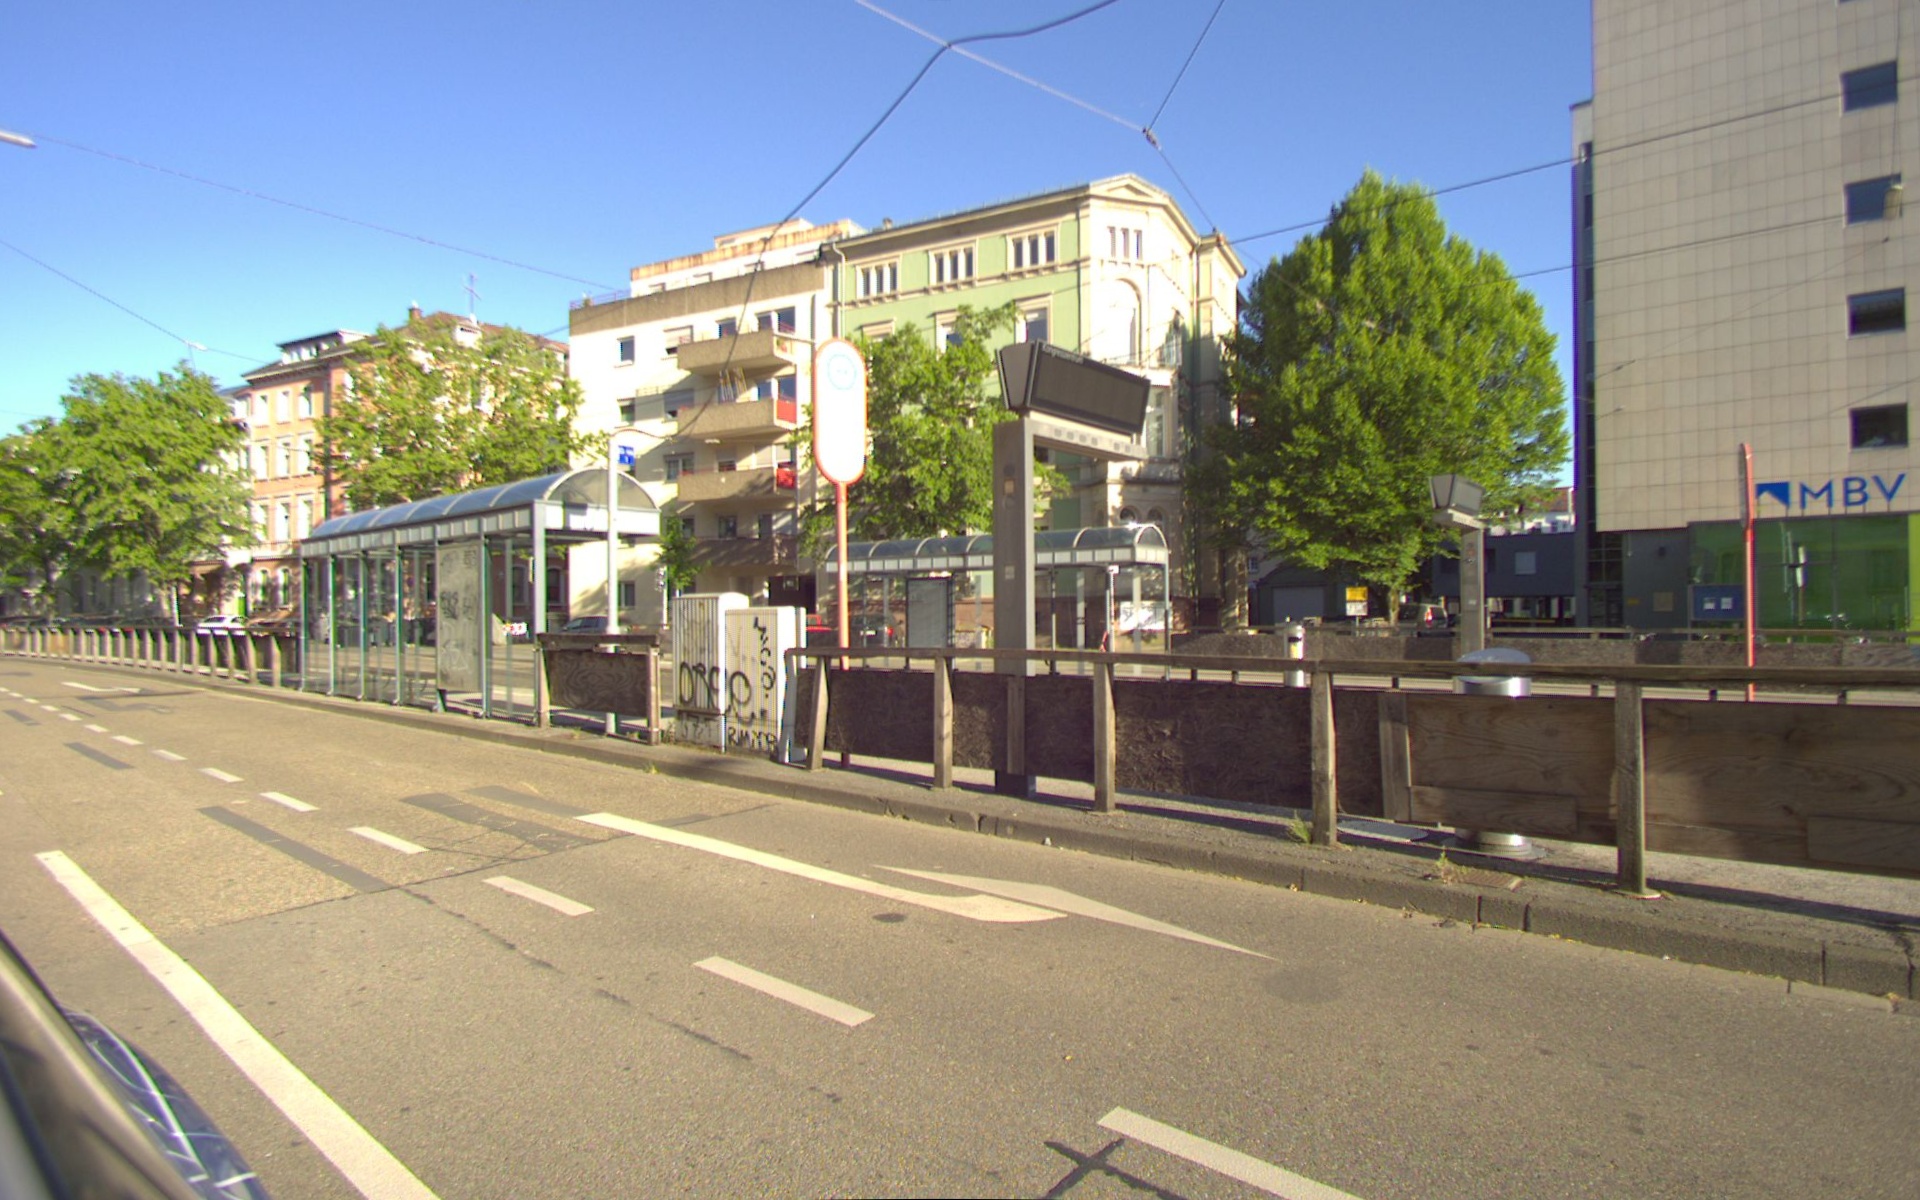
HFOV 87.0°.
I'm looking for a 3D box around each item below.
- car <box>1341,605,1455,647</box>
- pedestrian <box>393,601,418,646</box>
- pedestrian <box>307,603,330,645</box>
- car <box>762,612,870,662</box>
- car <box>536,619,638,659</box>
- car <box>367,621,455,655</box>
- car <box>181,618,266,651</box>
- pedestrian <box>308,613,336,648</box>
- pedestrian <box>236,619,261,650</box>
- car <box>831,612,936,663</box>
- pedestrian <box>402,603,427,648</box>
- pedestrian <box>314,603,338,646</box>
[{"bbox_3d":[15.732,0.898,36.470,1.544,1.423,3.430,-1,0,-38],"label":"car"},{"bbox_3d":[-27.849,1.187,50.810,0.753,2.224,0.804,-1,-2,30],"label":"pedestrian"},{"bbox_3d":[-34.155,1.269,53.917,0.755,2.224,0.803,-1,-2,36],"label":"pedestrian"},{"bbox_3d":[-4.843,1.233,34.501,1.754,1.594,3.965,-1,-1,26],"label":"car"},{"bbox_3d":[-14.265,1.464,38.676,3.725,1.438,1.637,-1,-1,29],"label":"car"},{"bbox_3d":[-23.714,1.612,43.668,3.986,1.407,1.592,-1,-2,32],"label":"car"},{"bbox_3d":[-39.493,1.822,54.378,1.825,1.721,4.130,0,-1,-5],"label":"car"},{"bbox_3d":[-31.924,1.535,50.642,1.016,1.733,0.846,-1,-2,32],"label":"pedestrian"},{"bbox_3d":[-38.202,1.866,54.358,0.853,1.641,0.894,0,-1,-19],"label":"pedestrian"},{"bbox_3d":[-2.464,1.202,33.446,1.754,1.594,3.965,-1,-1,26],"label":"car"},{"bbox_3d":[-27.103,1.248,50.250,0.753,2.224,0.804,-1,-2,30],"label":"pedestrian"},{"bbox_3d":[-33.104,1.256,52.865,0.753,2.224,0.804,-1,-2,30],"label":"pedestrian"}]
